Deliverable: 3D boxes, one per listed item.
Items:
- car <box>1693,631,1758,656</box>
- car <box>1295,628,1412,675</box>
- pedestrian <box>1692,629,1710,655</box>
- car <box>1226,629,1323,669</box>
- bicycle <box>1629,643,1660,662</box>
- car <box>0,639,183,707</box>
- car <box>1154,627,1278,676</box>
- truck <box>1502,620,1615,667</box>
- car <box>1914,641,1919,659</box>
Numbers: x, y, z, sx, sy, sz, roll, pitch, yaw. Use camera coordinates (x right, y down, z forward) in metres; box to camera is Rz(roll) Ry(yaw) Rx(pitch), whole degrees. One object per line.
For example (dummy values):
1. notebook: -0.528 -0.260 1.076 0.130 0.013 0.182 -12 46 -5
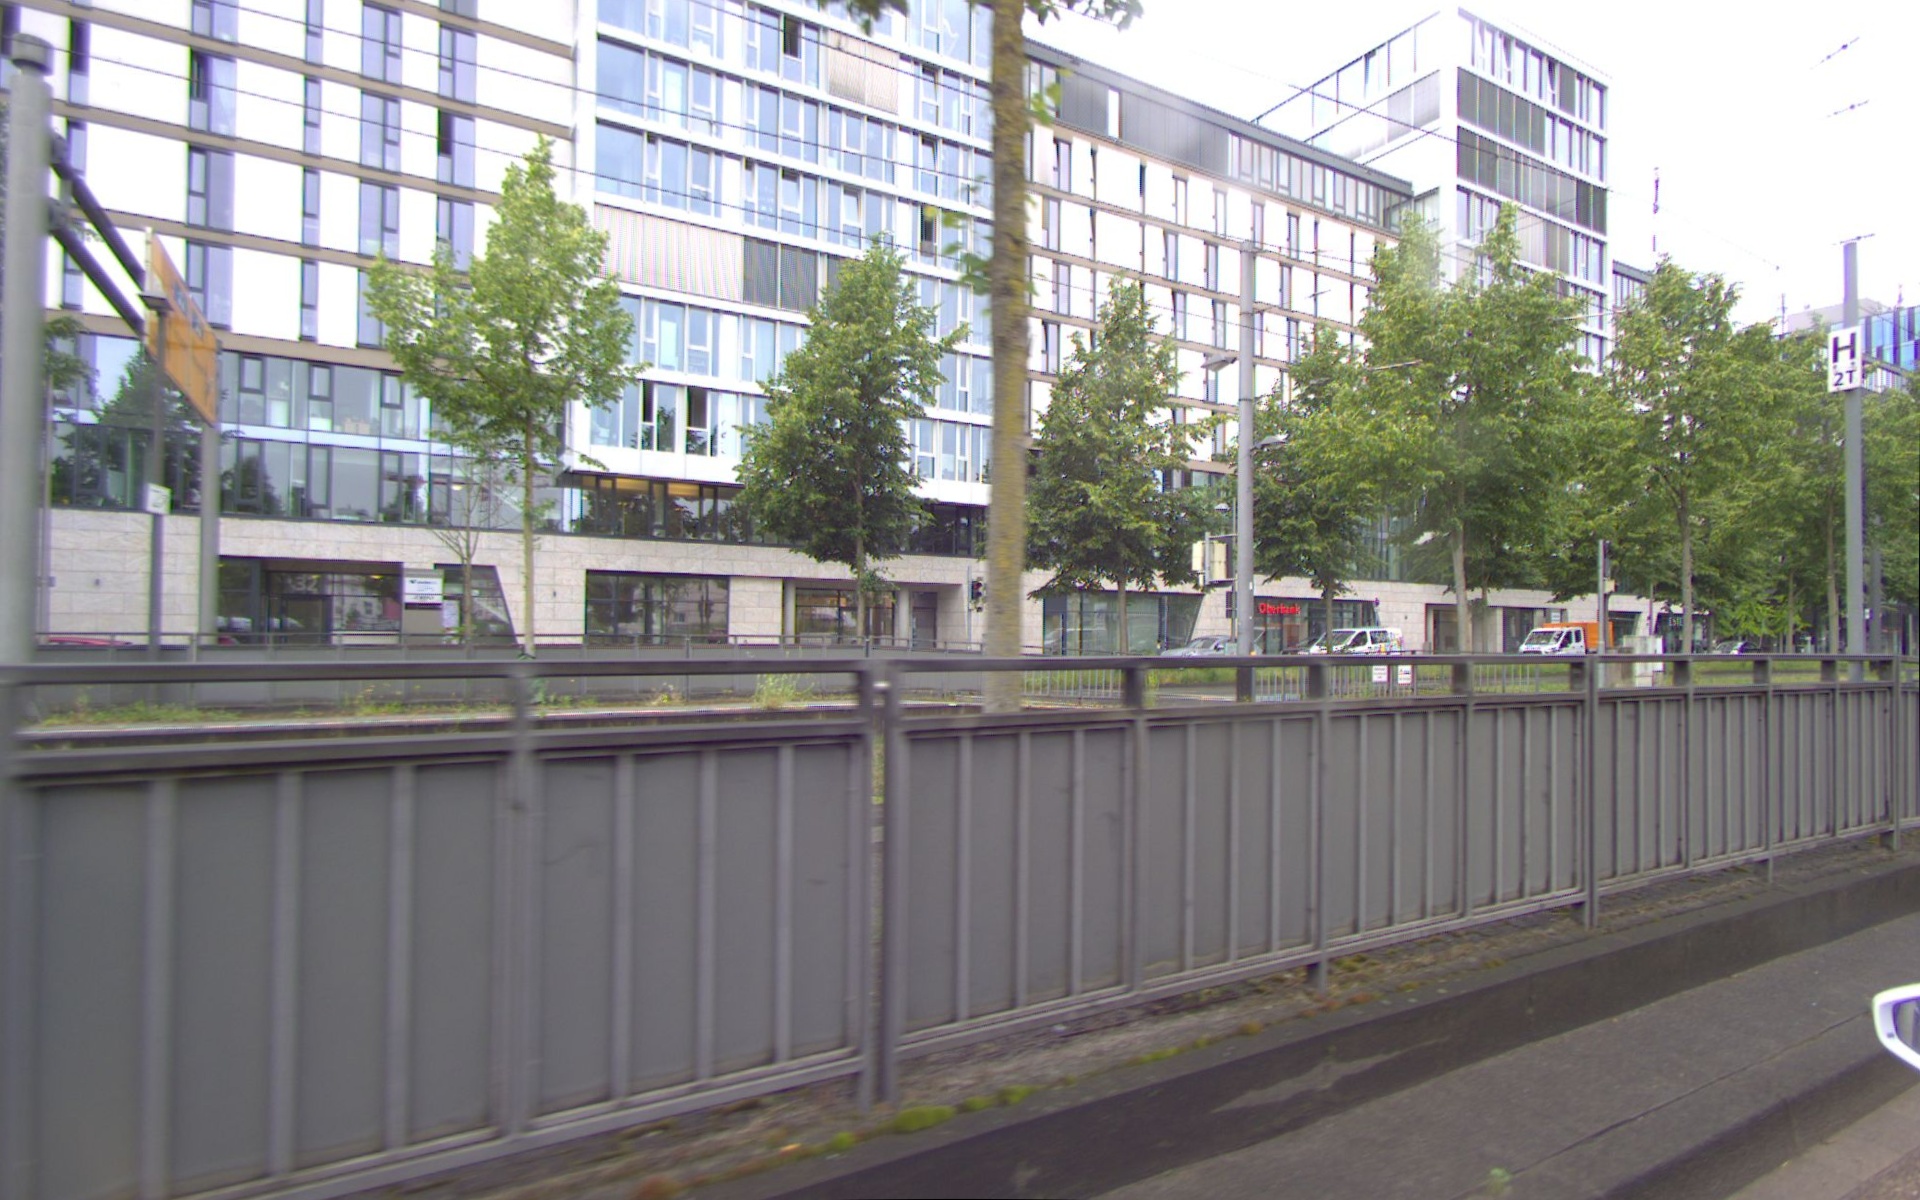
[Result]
1. car: 46.037 2.606 60.385 3.943 1.484 1.845 2 -2 -31
2. car: 16.807 2.165 42.836 5.105 1.876 1.983 2 -2 -31
3. pedestrian: 57.907 3.273 78.485 0.843 2.007 0.793 1 -1 -22
4. car: 14.358 2.221 45.776 4.144 1.716 1.984 2 -2 -31
5. bicycle: 35.239 2.702 51.708 1.734 0.957 0.597 1 -2 -27
6. car: -18.729 1.474 20.822 3.813 1.305 1.985 2 -2 -29
7. car: 9.787 1.937 38.371 4.413 1.735 2.134 2 -2 -31
8. truck: 30.927 2.214 51.842 6.236 2.322 2.414 2 -2 -31
9. car: 76.387 3.950 78.261 3.954 1.396 1.984 2 -1 -31
